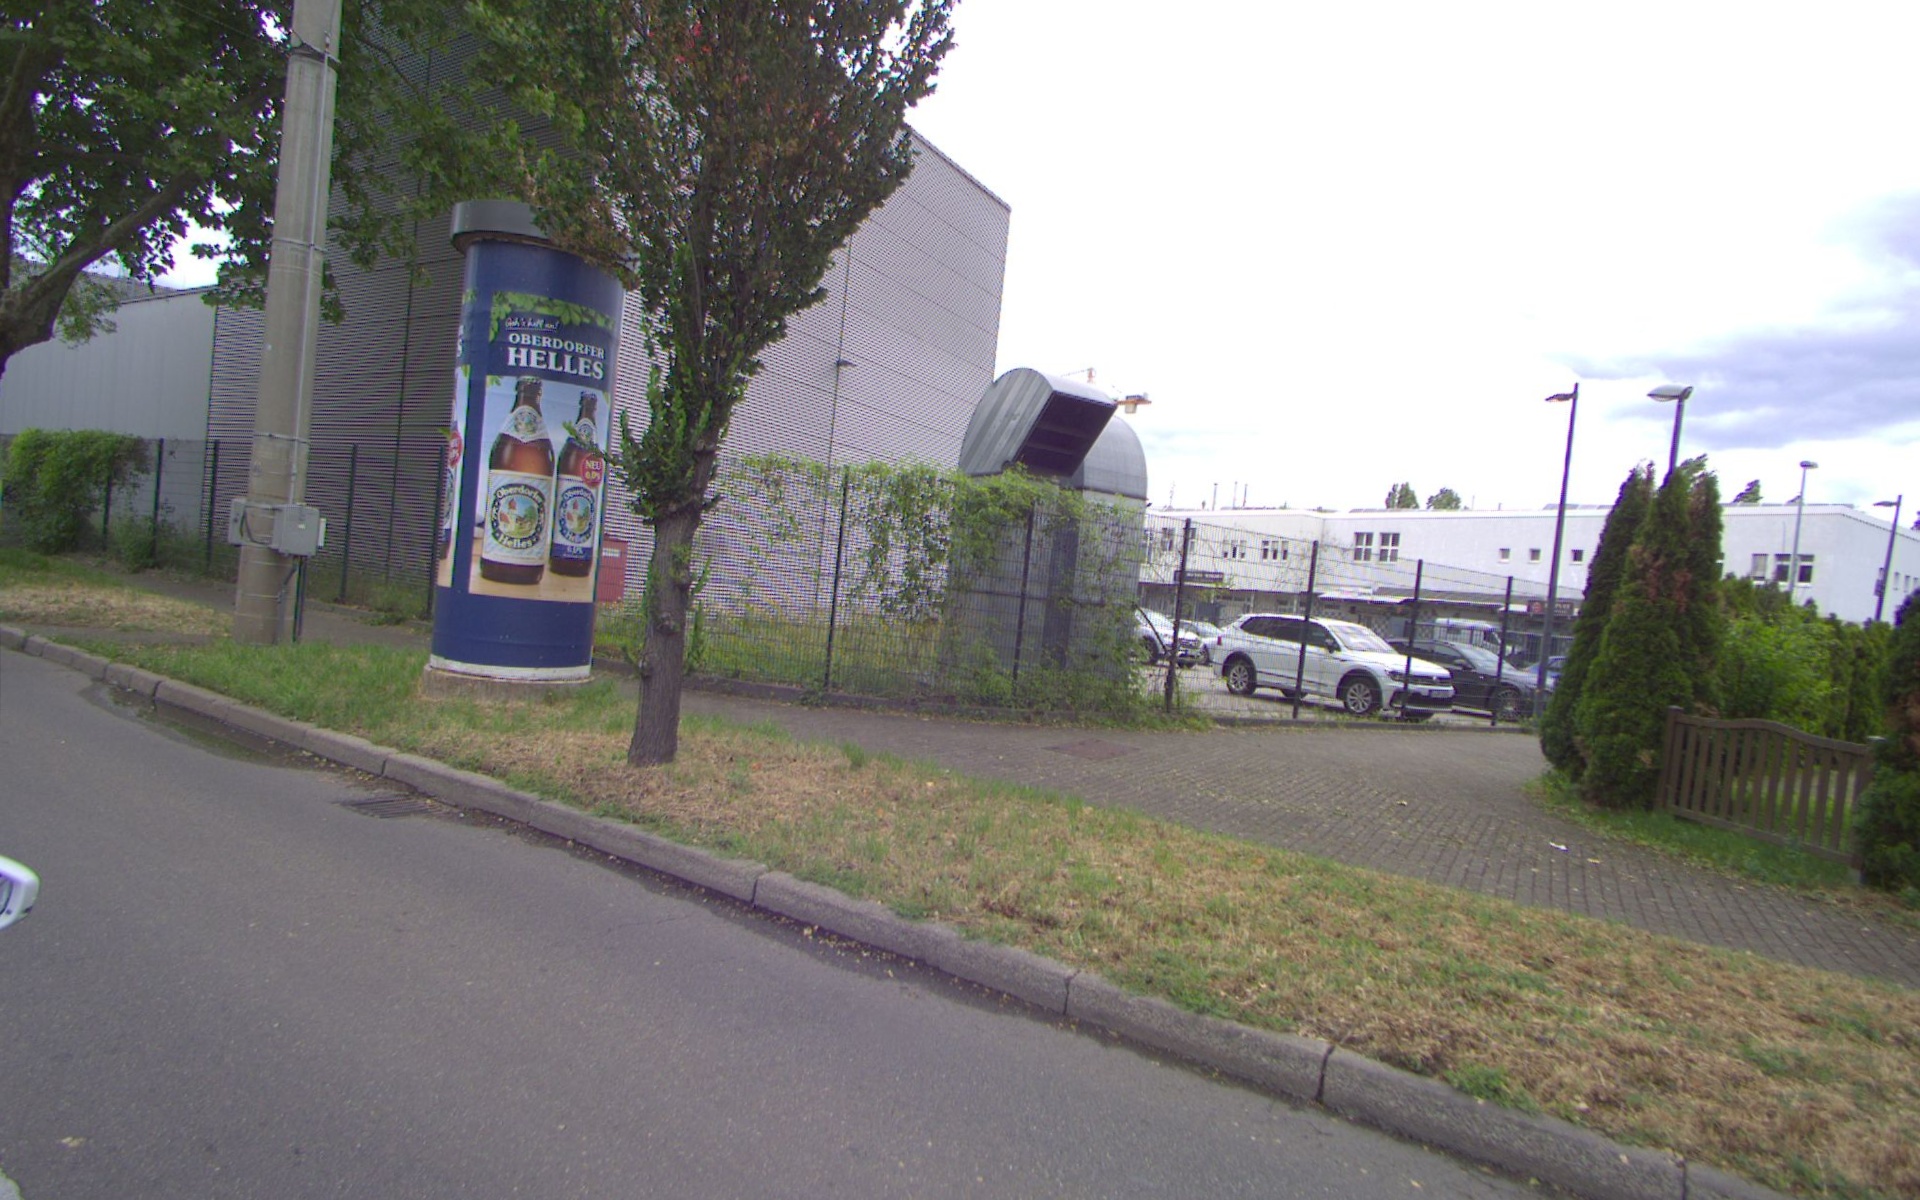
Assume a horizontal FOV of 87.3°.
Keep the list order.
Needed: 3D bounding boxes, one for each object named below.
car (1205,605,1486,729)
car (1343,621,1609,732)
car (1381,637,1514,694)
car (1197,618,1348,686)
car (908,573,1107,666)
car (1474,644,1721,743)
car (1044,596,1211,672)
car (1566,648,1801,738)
[{"bbox_3d":[6.955,1.160,18.646,1.979,1.686,4.464,6,1,-31],"label":"car"},{"bbox_3d":[10.620,1.524,21.052,1.979,1.686,4.464,6,1,-31],"label":"car"},{"bbox_3d":[19.380,2.579,40.169,1.982,1.668,4.233,8,-2,-34],"label":"car"},{"bbox_3d":[10.036,1.645,32.582,1.982,1.668,4.233,8,-2,-34],"label":"car"},{"bbox_3d":[1.127,0.466,24.224,4.197,1.668,1.999,6,-2,29],"label":"car"},{"bbox_3d":[15.089,2.165,24.088,1.979,1.686,4.464,6,1,-31],"label":"car"},{"bbox_3d":[4.855,0.957,29.582,4.418,1.687,1.999,6,1,-1],"label":"car"},{"bbox_3d":[18.757,2.374,26.311,1.979,1.686,4.464,6,1,-31],"label":"car"}]
